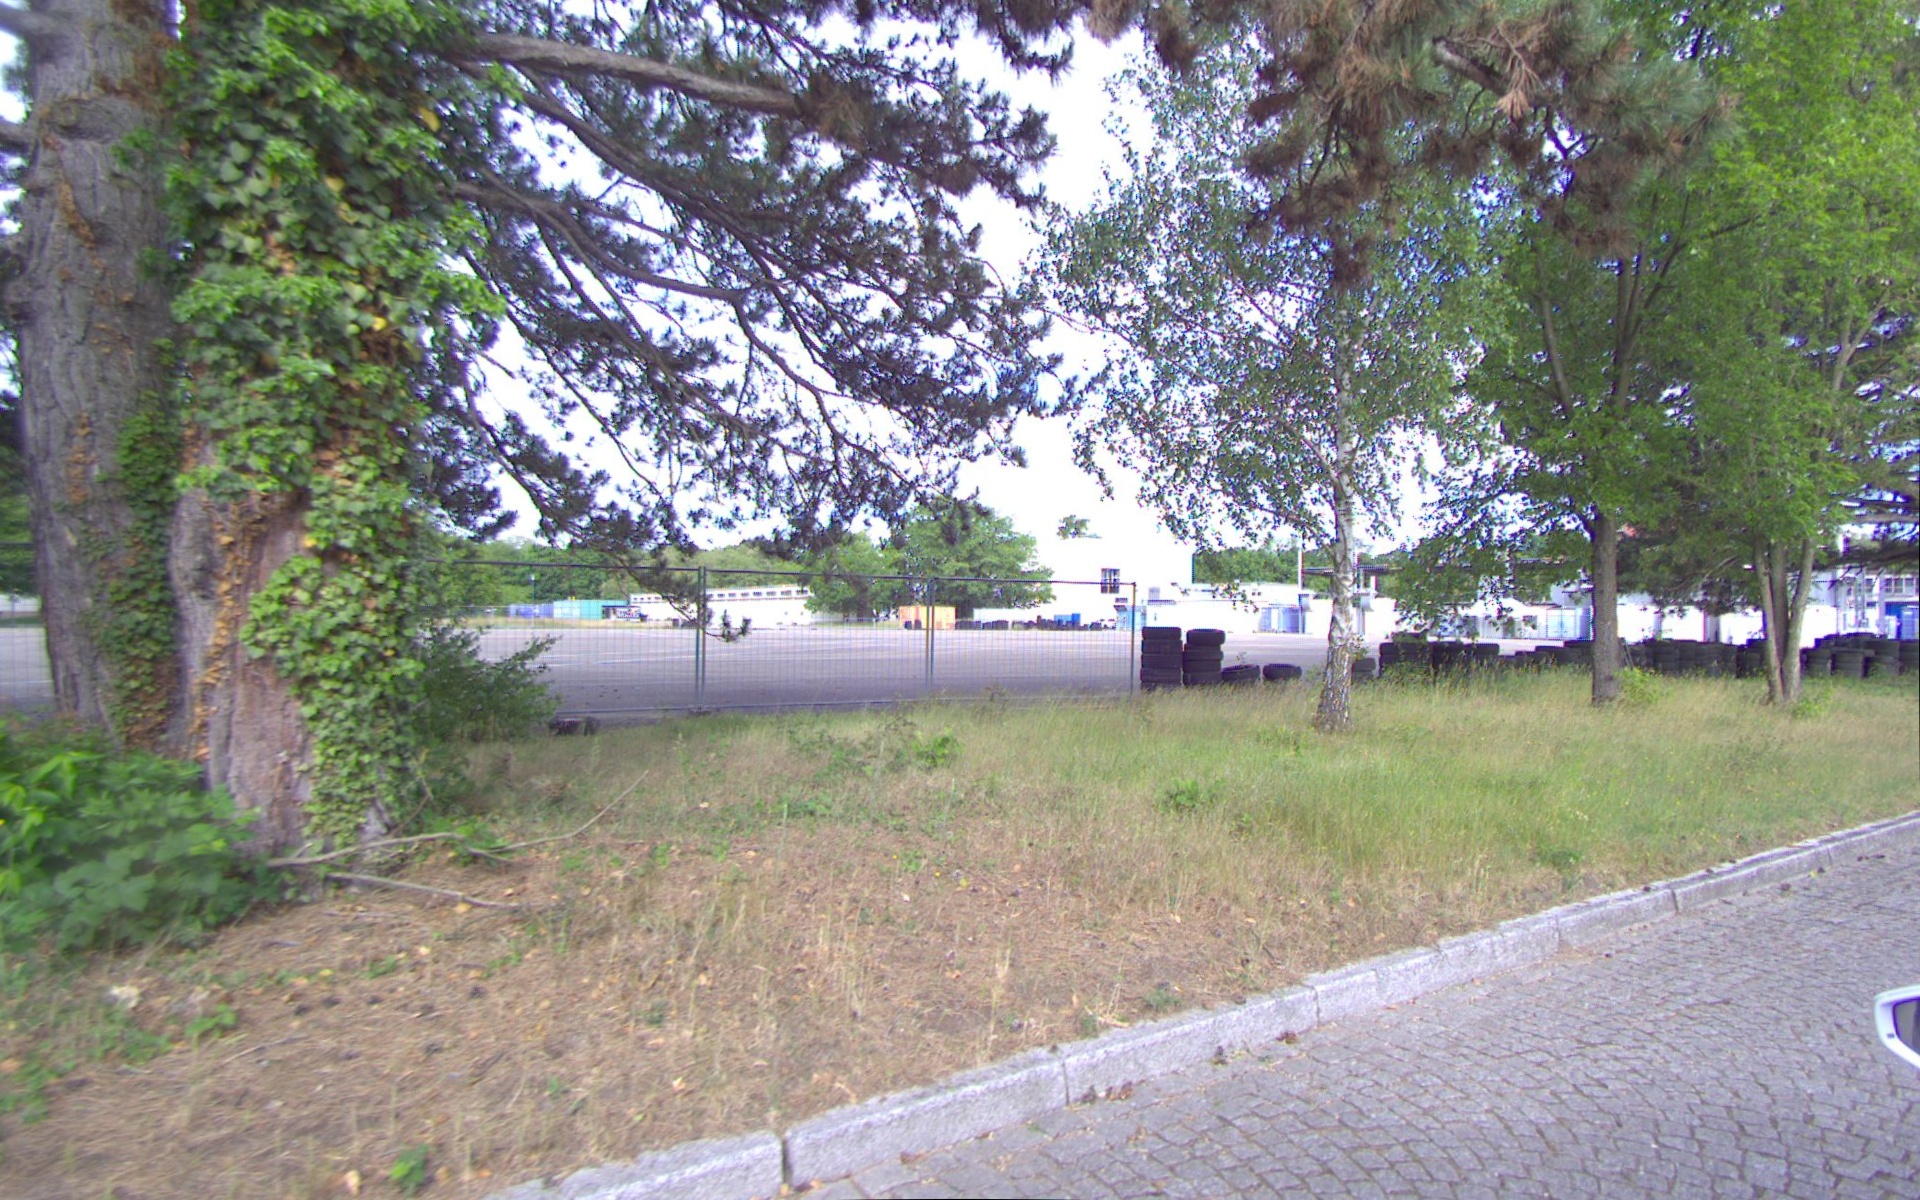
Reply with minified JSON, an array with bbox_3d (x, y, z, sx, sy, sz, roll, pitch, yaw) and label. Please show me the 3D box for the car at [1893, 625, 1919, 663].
[{"bbox_3d":[39.477,1.771,40.193,4.163,1.451,1.818,1,-1,-26],"label":"car"}]
